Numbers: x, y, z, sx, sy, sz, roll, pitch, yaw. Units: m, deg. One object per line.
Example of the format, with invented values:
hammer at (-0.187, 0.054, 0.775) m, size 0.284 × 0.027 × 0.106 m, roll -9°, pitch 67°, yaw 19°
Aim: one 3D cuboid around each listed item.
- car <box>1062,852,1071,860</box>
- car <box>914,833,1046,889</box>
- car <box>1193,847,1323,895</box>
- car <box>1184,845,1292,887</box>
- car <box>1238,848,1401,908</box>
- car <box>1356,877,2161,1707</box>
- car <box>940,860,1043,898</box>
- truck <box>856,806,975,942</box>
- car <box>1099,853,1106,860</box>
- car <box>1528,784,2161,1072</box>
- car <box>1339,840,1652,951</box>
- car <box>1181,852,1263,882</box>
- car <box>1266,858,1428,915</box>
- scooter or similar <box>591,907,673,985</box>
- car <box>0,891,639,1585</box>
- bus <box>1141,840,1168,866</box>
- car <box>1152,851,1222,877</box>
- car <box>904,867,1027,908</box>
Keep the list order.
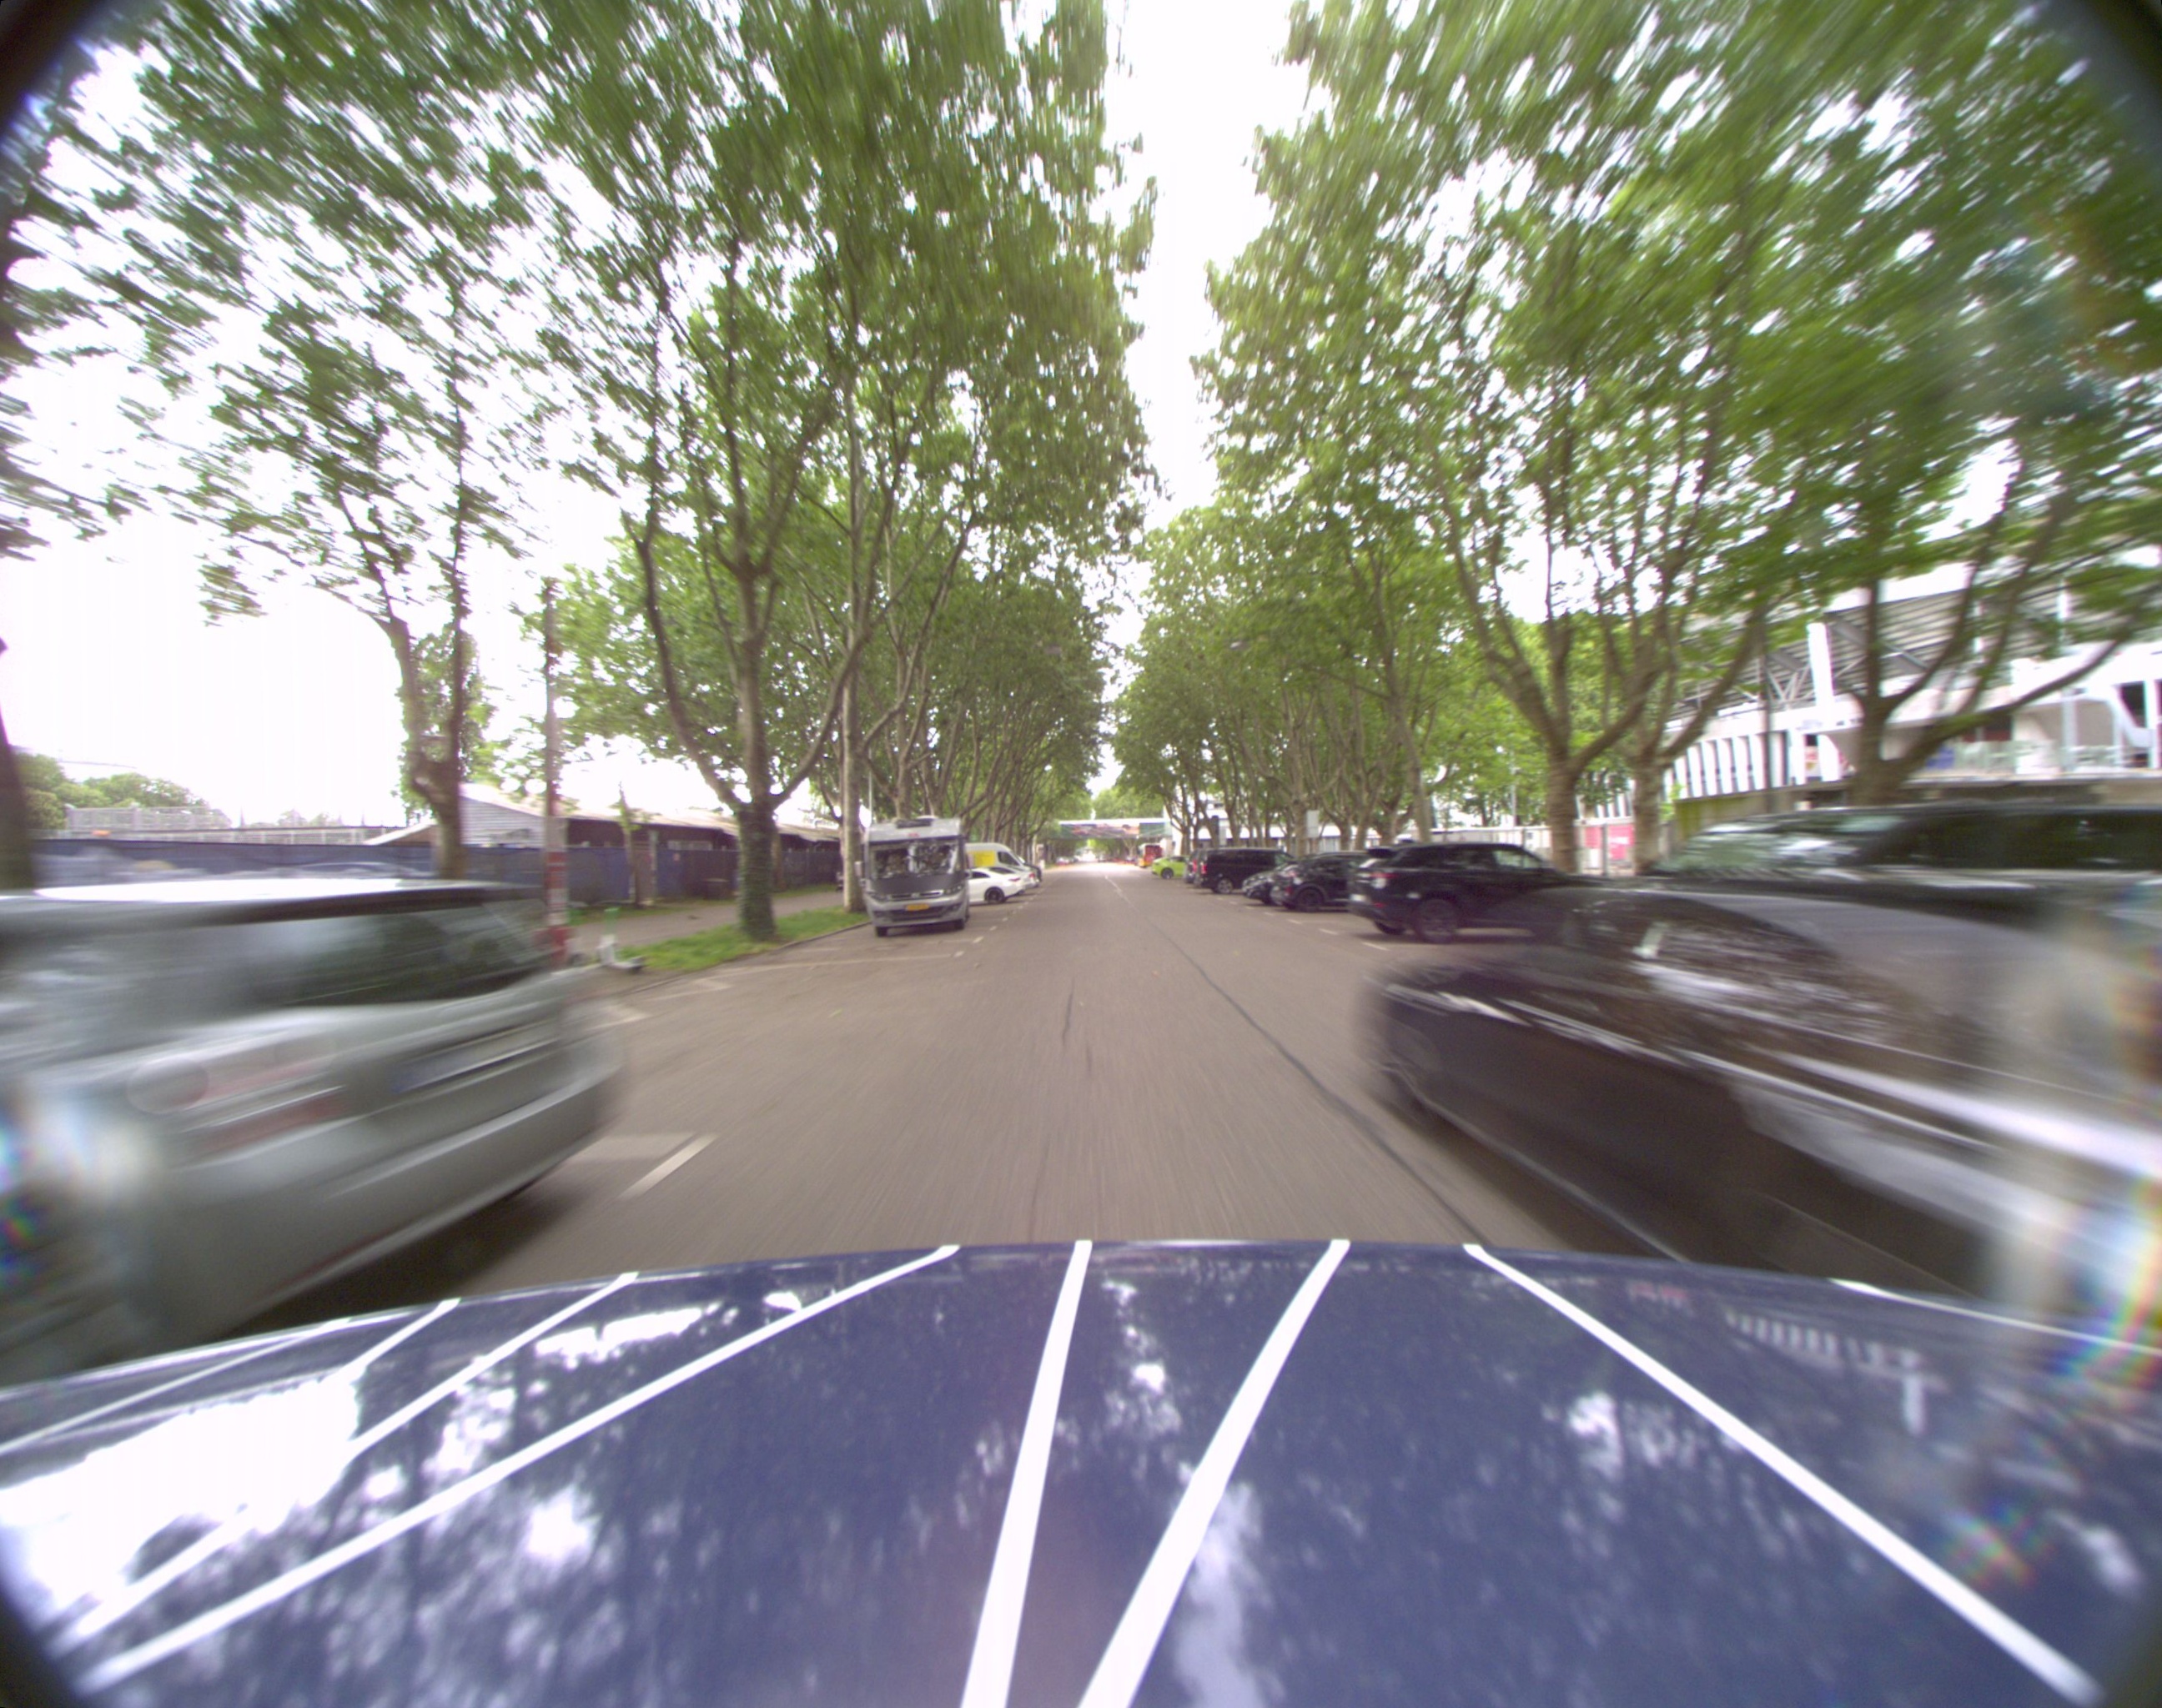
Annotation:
car at (-2.957, 0.391, 152.211) m, size 1.757 × 1.687 × 4.497 m, roll -1°, pitch 0°, yaw -1°
car at (-5.434, 0.376, 41.508) m, size 6.901 × 2.679 × 2.126 m, roll -3°, pitch 1°, yaw -5°
car at (7.289, 0.698, 31.721) m, size 4.917 × 1.913 × 2.208 m, roll 0°, pitch 0°, yaw 1°
car at (7.494, 0.561, 36.614) m, size 4.774 × 1.913 × 2.017 m, roll 1°, pitch 0°, yaw -1°
car at (7.421, 0.737, 23.991) m, size 4.590 × 1.771 × 1.798 m, roll 0°, pitch -1°, yaw 2°
car at (2.565, 0.832, 2.455) m, size 1.659 × 1.356 × 4.111 m, roll 1°, pitch 0°, yaw -3°
car at (-3.941, 1.082, 33.742) m, size 4.372 × 1.437 × 1.611 m, roll -3°, pitch 0°, yaw -7°
truck at (-4.190, 0.440, 20.636) m, size 2.466 × 2.920 × 7.532 m, roll -3°, pitch 0°, yaw -8°
car at (5.827, 0.645, 204.386) m, size 1.757 × 1.652 × 4.000 m, roll -2°, pitch 0°, yaw 1°
car at (7.178, 0.569, 6.608) m, size 5.450 × 2.115 × 1.940 m, roll 0°, pitch 0°, yaw -1°
car at (7.323, 0.708, 13.825) m, size 4.664 × 1.809 × 1.806 m, roll 1°, pitch 0°, yaw 3°
car at (7.757, 0.692, 41.890) m, size 4.117 × 1.559 × 1.757 m, roll 1°, pitch 0°, yaw -4°
car at (7.371, 0.878, 21.334) m, size 3.907 × 1.485 × 1.753 m, roll 1°, pitch 1°, yaw -2°
scooter or similar at (-7.420, 1.492, 12.561) m, size 1.270 × 1.120 × 0.602 m, roll 3°, pitch 0°, yaw 32°
car at (-4.406, 1.117, 2.878) m, size 4.350 × 1.608 × 1.804 m, roll -4°, pitch 0°, yaw 3°
bus at (9.615, -0.142, 100.469) m, size 2.658 × 3.136 × 12.369 m, roll 1°, pitch 0°, yaw 2°
car at (7.137, 0.683, 51.519) m, size 4.527 × 1.608 × 1.758 m, roll -1°, pitch 0°, yaw 3°
car at (-4.314, 1.233, 28.869) m, size 4.330 × 1.294 × 1.700 m, roll -3°, pitch 0°, yaw 1°
